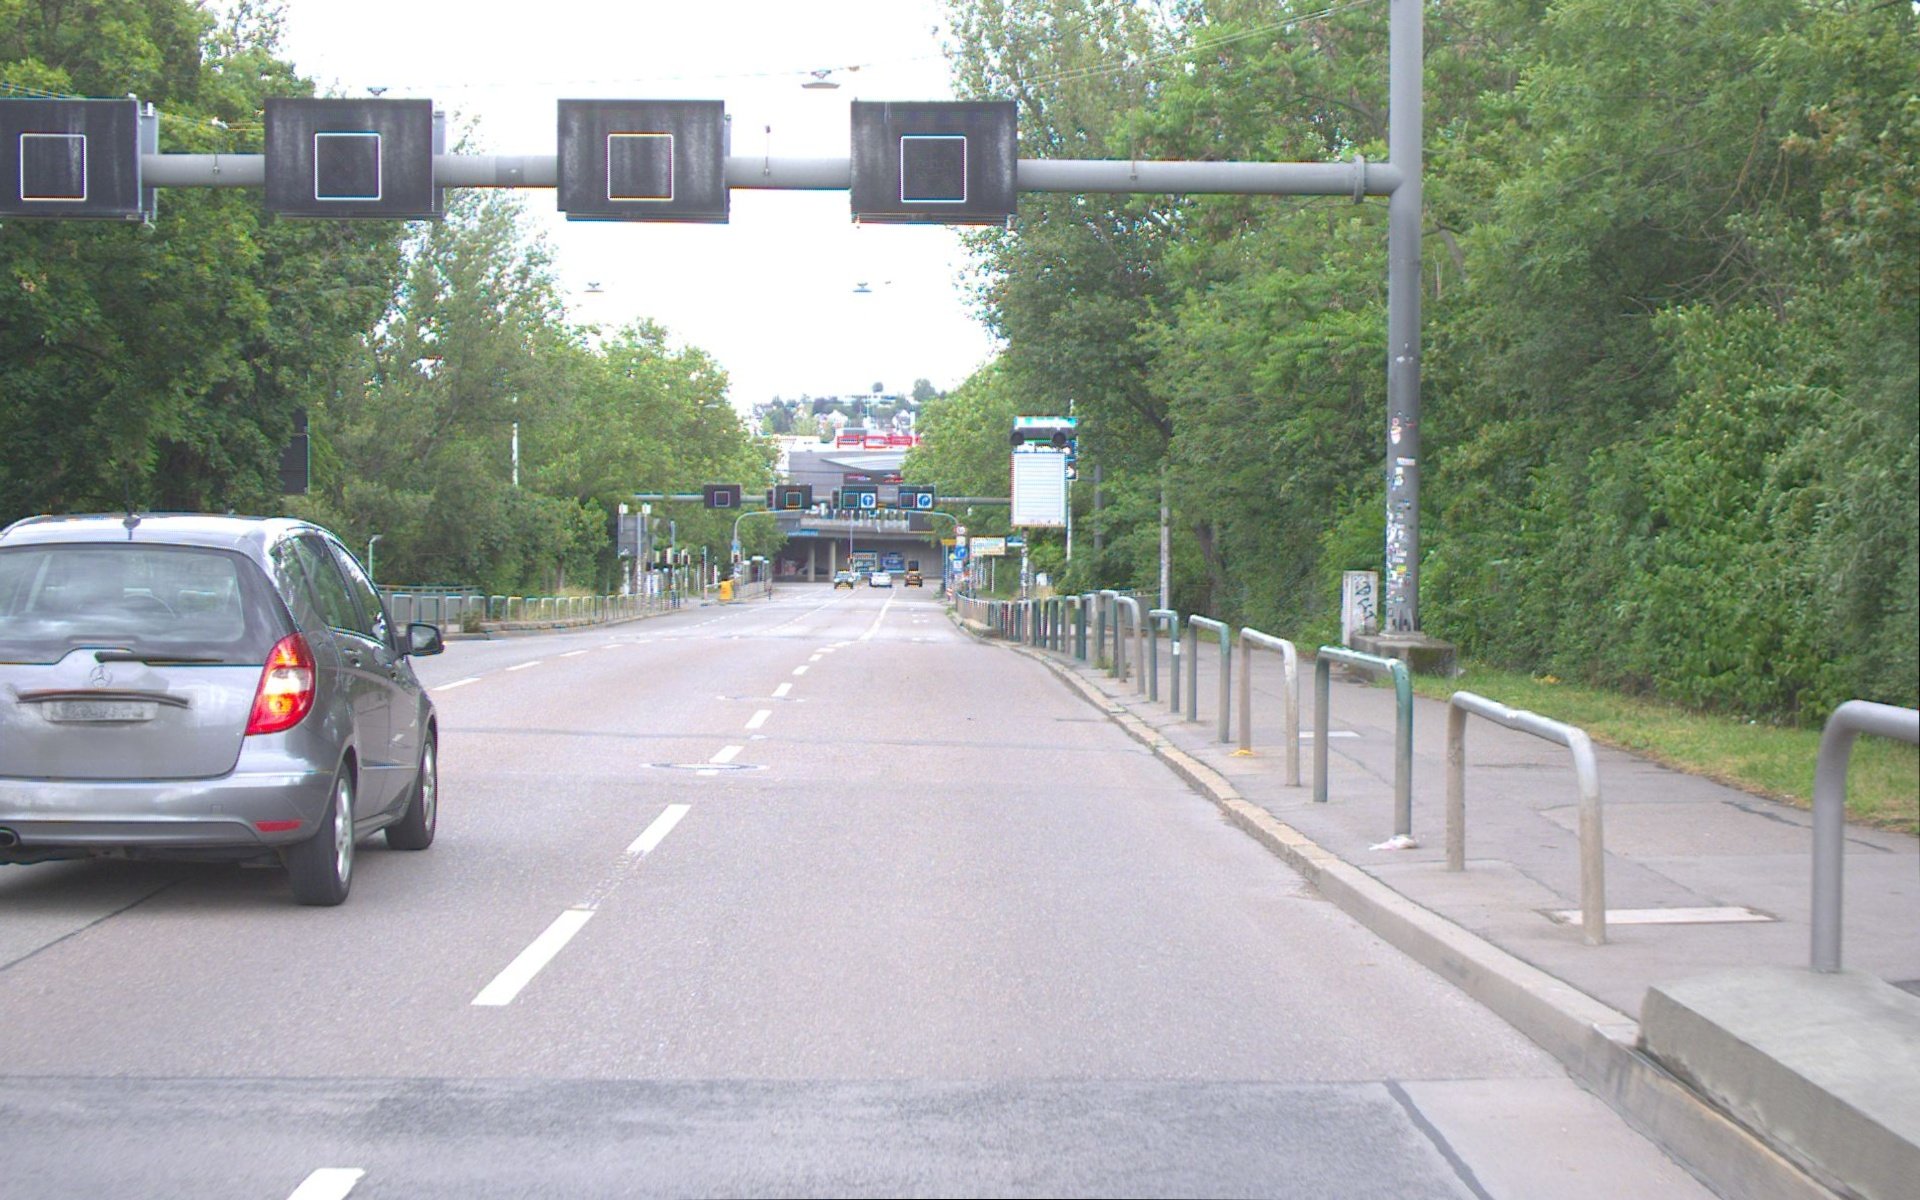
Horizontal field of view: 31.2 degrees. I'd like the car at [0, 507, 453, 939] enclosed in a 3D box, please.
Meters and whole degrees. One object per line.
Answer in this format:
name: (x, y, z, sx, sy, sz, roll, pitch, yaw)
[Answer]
car: (-3.336, 0.417, 14.960, 1.745, 1.545, 3.872, 1, 2, -1)
